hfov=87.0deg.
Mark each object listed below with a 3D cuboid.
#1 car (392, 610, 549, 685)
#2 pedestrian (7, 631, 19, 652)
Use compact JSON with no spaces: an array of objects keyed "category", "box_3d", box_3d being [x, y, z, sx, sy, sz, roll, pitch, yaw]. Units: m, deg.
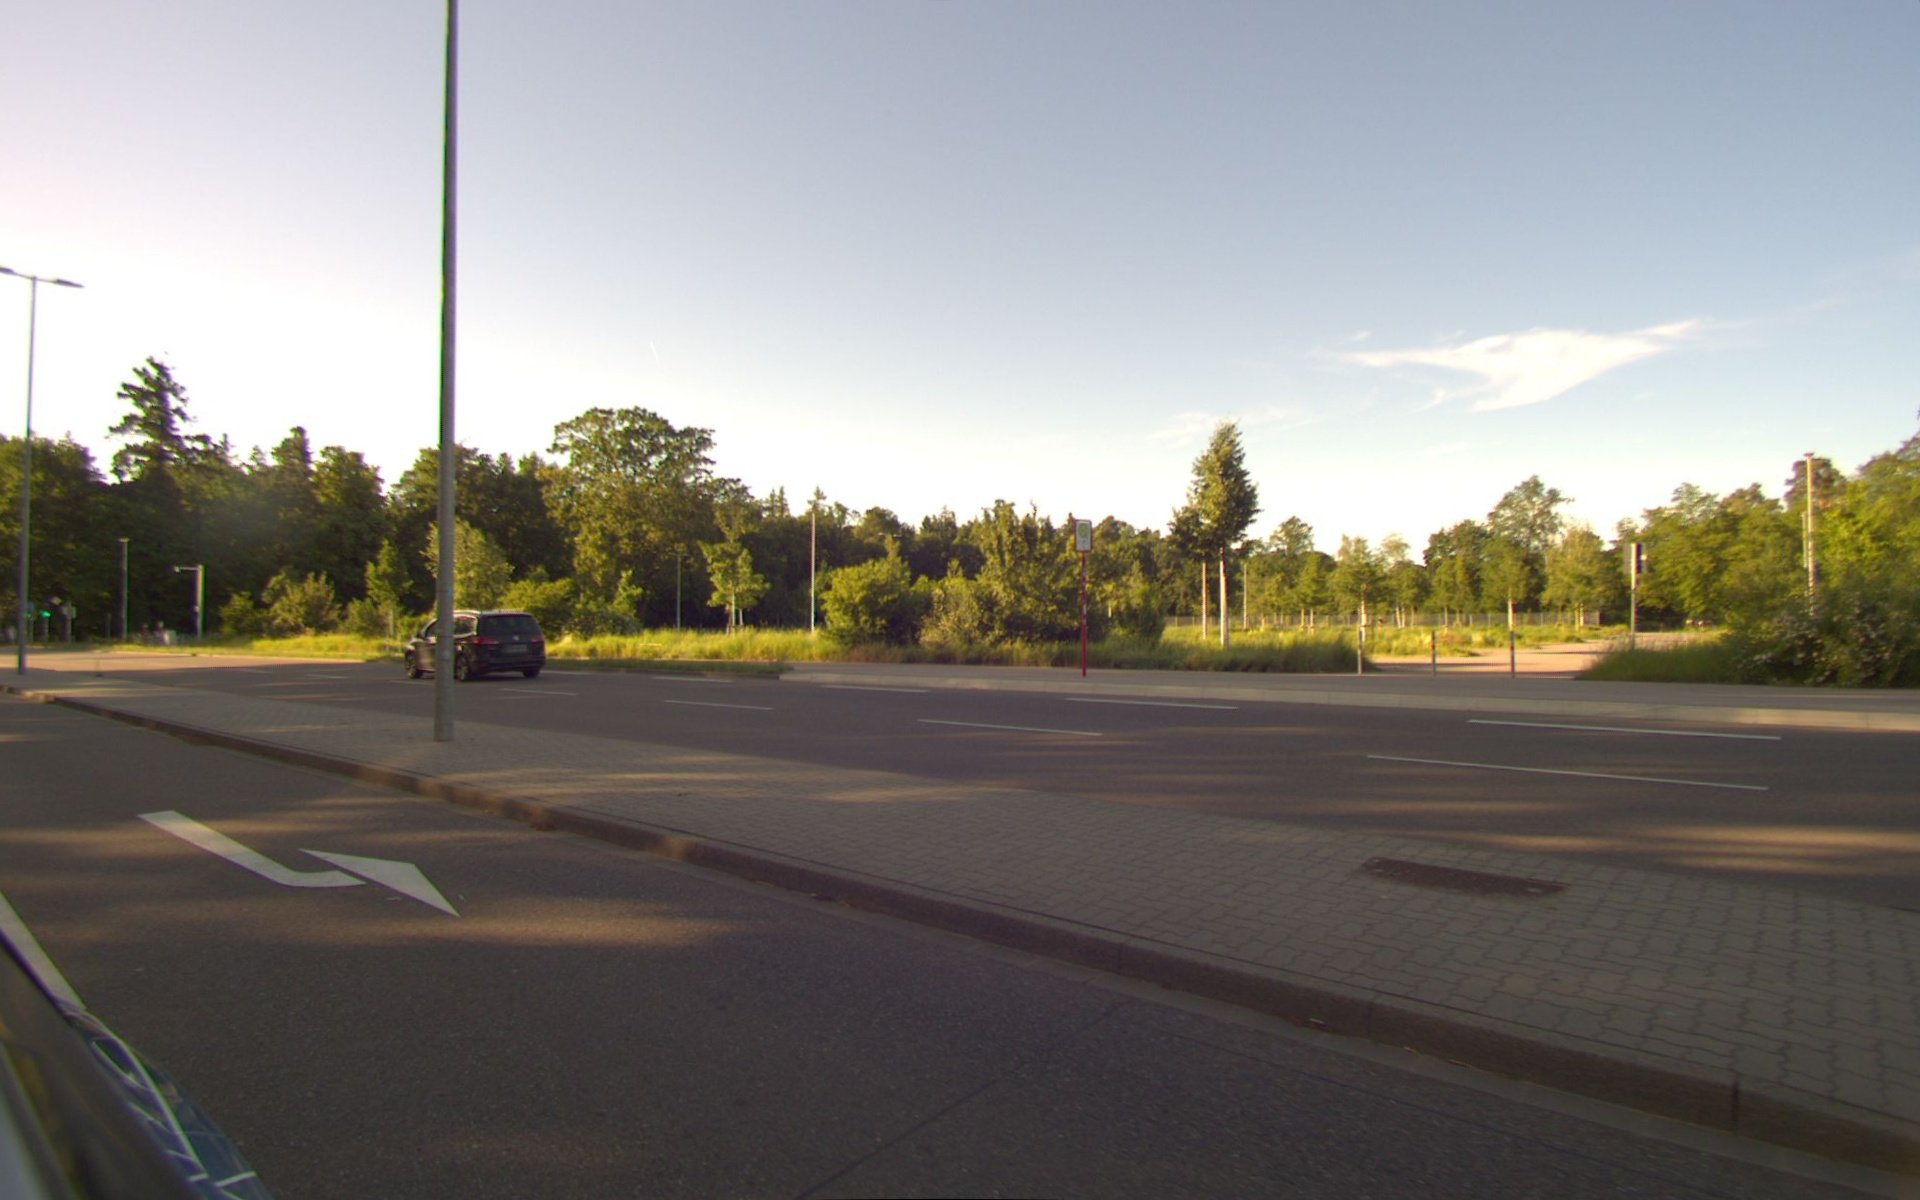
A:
[{"category":"car","box_3d":[-12.344,1.171,25.375,4.698,1.705,1.765,-3,-1,40]},{"category":"pedestrian","box_3d":[-83.843,3.672,89.571,0.733,1.788,0.682,-3,-3,41]}]
